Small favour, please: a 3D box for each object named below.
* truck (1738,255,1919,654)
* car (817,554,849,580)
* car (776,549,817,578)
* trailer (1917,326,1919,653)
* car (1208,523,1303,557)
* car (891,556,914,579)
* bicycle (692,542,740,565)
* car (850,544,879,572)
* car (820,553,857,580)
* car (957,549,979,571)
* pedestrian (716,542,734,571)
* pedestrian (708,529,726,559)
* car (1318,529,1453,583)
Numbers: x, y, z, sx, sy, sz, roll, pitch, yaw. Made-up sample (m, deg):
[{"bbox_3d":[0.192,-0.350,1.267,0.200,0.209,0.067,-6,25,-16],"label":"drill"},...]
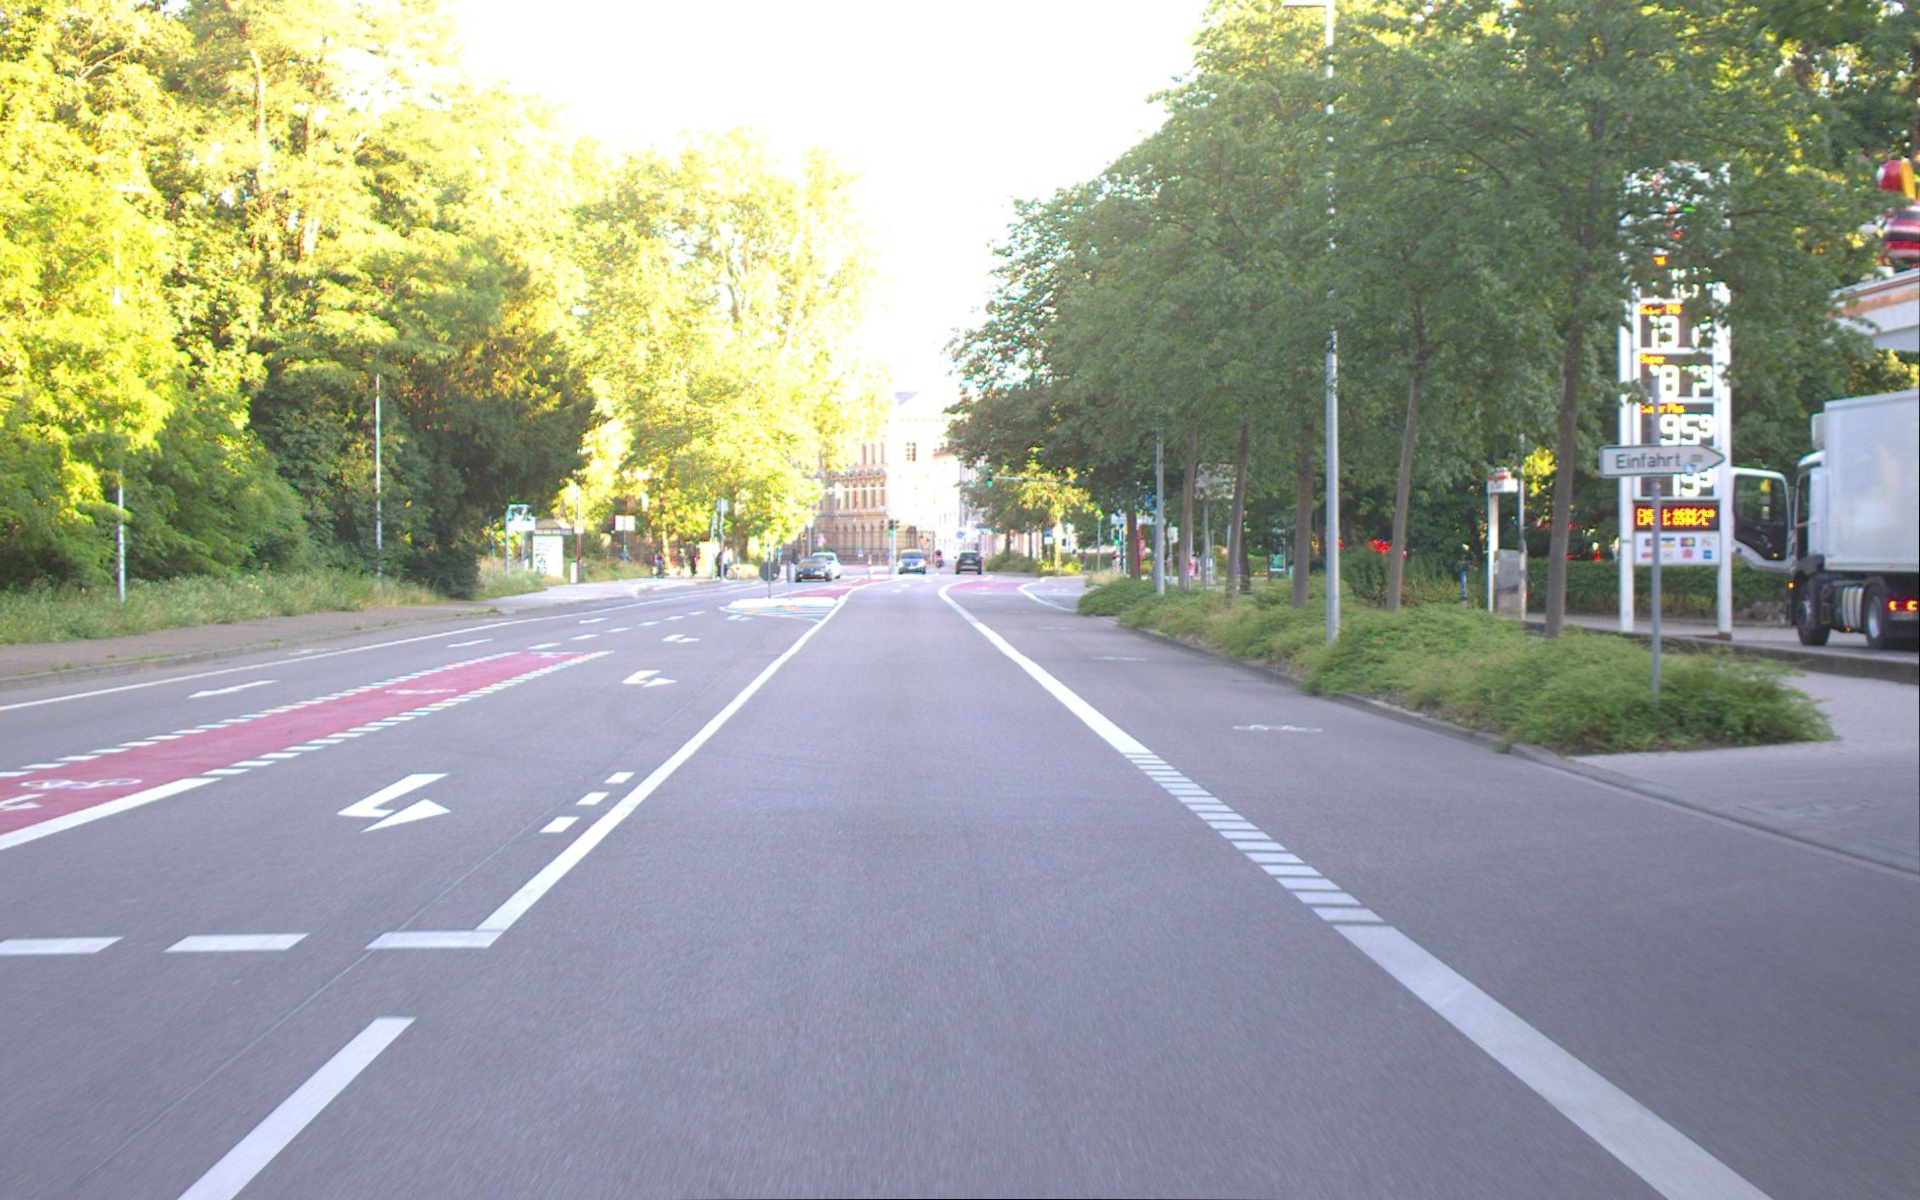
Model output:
[{"bbox_3d":[14.310,-2.082,51.154,3.032,5.437,8.411,0,1,-4],"label":"truck"},{"bbox_3d":[-6.375,-1.667,172.866,1.493,1.287,3.491,0,1,0],"label":"car"},{"bbox_3d":[-8.215,-1.828,173.127,1.798,1.448,4.127,0,1,2],"label":"car"},{"bbox_3d":[14.844,-1.908,43.026,3.020,5.443,7.936,0,1,-4],"label":"trailer"},{"bbox_3d":[14.098,-2.866,164.079,4.460,1.585,1.715,0,1,7],"label":"car"},{"bbox_3d":[-3.788,-2.162,227.939,1.493,1.481,3.491,0,1,0],"label":"car"},{"bbox_3d":[-12.864,-2.463,181.247,2.463,1.191,0.757,0,1,9],"label":"bicycle"},{"bbox_3d":[-5.063,-2.251,182.338,1.493,1.481,3.491,0,1,0],"label":"car"},{"bbox_3d":[-6.730,-1.866,191.065,1.798,1.448,4.127,0,1,2],"label":"car"},{"bbox_3d":[0.540,-2.735,232.587,1.493,1.481,3.491,0,1,0],"label":"car"},{"bbox_3d":[-12.840,-2.373,188.099,0.791,1.575,0.745,2,1,8],"label":"pedestrian"},{"bbox_3d":[-12.823,-2.944,181.210,0.791,1.575,0.745,2,1,8],"label":"pedestrian"},{"bbox_3d":[15.714,-1.643,127.166,4.912,1.983,1.921,0,1,7],"label":"car"}]
